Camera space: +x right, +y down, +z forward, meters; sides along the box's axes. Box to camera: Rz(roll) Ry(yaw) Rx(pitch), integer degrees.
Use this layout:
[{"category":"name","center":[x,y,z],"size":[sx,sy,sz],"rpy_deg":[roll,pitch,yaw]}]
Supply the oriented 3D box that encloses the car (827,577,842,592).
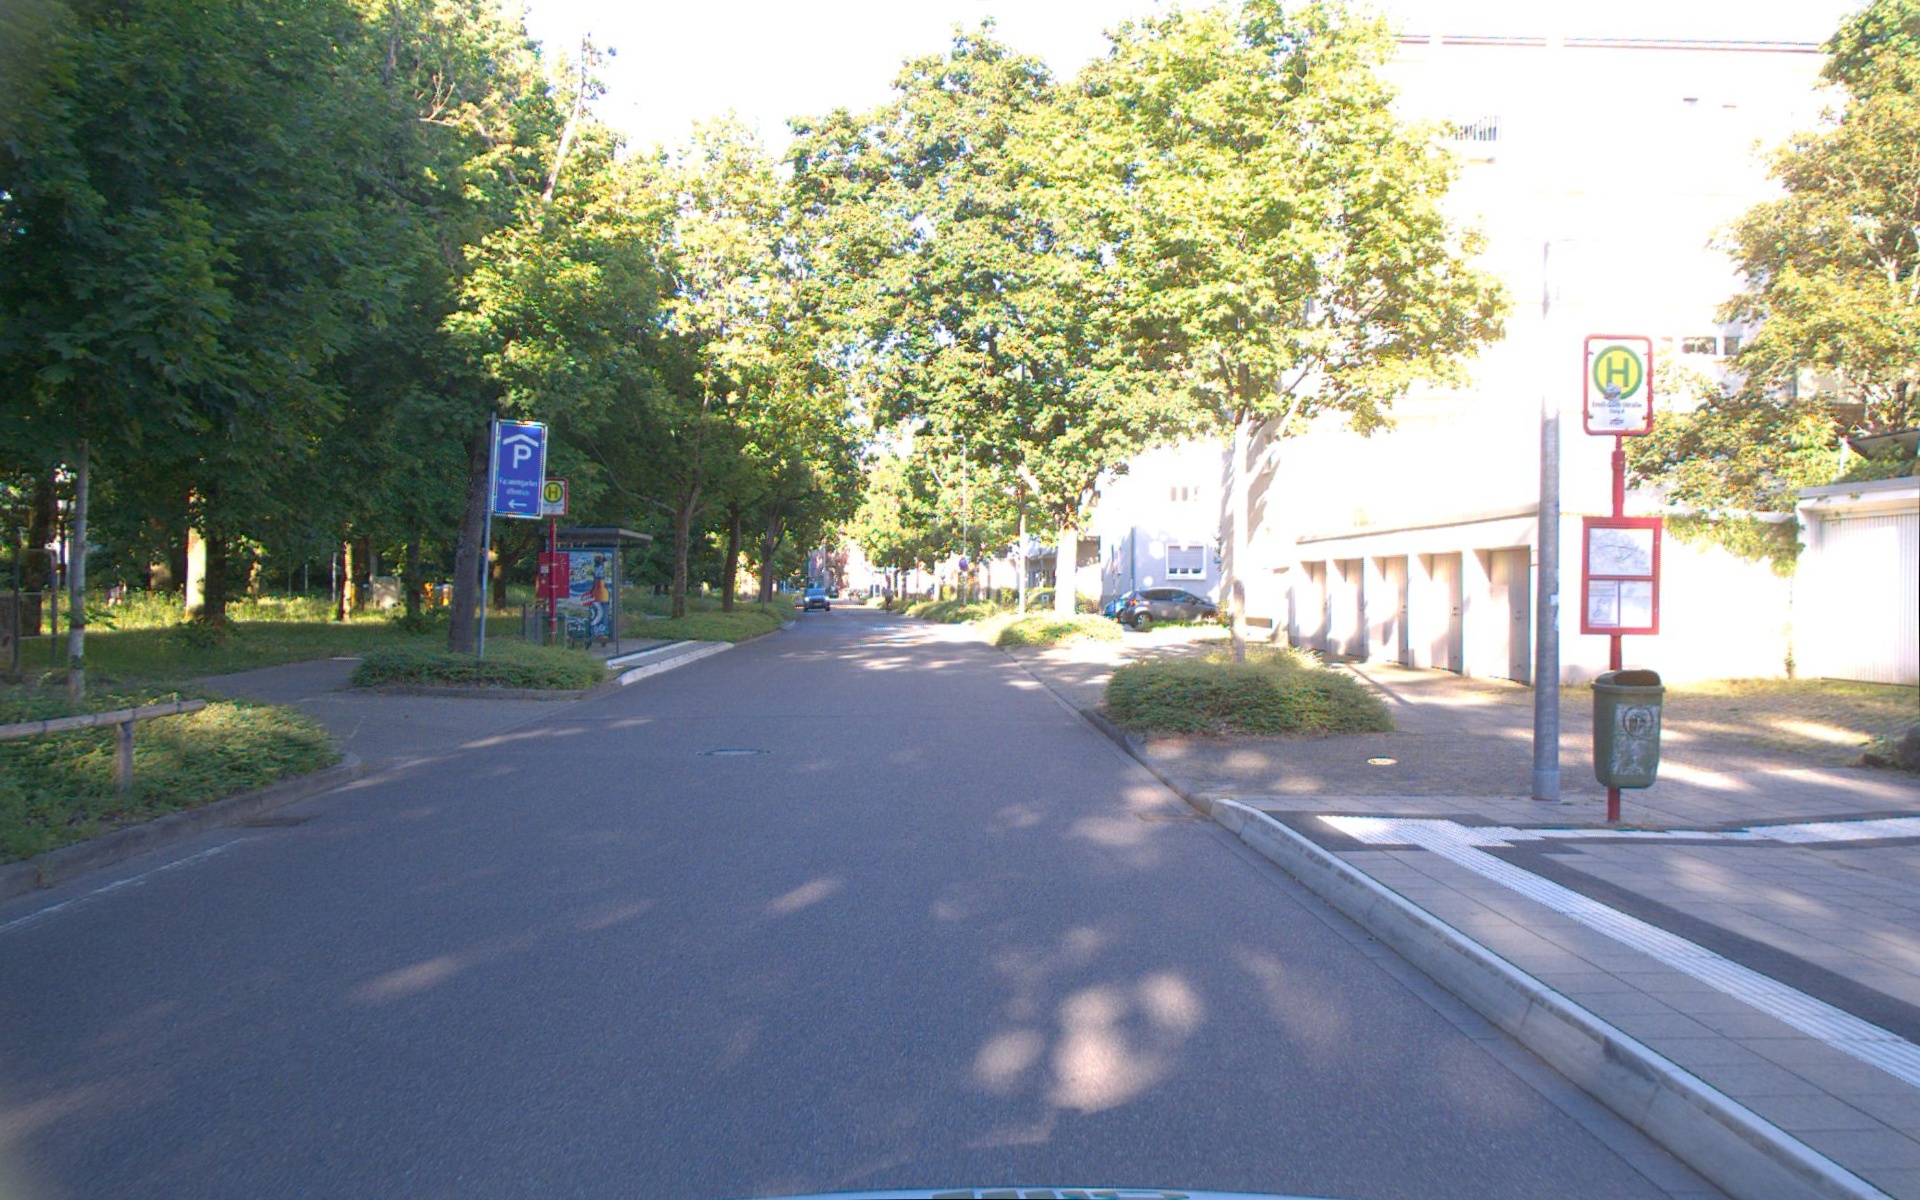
[{"category":"car","center":[-17.565,-2.219,231.543],"size":[1.778,1.959,3.992],"rpy_deg":[1,1,-9]}]

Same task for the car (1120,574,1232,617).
[{"category":"car","center":[8.201,-0.173,62.931],"size":[3.962,1.541,1.725],"rpy_deg":[1,0,-5]}]

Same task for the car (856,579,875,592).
[{"category":"car","center":[-11.645,-1.765,203.395],"size":[1.780,1.527,3.987],"rpy_deg":[0,1,-13]}]

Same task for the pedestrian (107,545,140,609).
[{"category":"pedestrian","center":[-27.012,-0.755,53.418],"size":[0.742,2.049,0.589],"rpy_deg":[1,1,-7]}]

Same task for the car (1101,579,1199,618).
[{"category":"car","center":[8.103,-0.084,70.713],"size":[3.910,1.609,1.808],"rpy_deg":[0,2,-7]}]

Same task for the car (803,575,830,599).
[{"category":"car","center":[-10.009,-0.922,115.791],"size":[1.808,1.606,4.332],"rpy_deg":[-2,1,-5]}]
